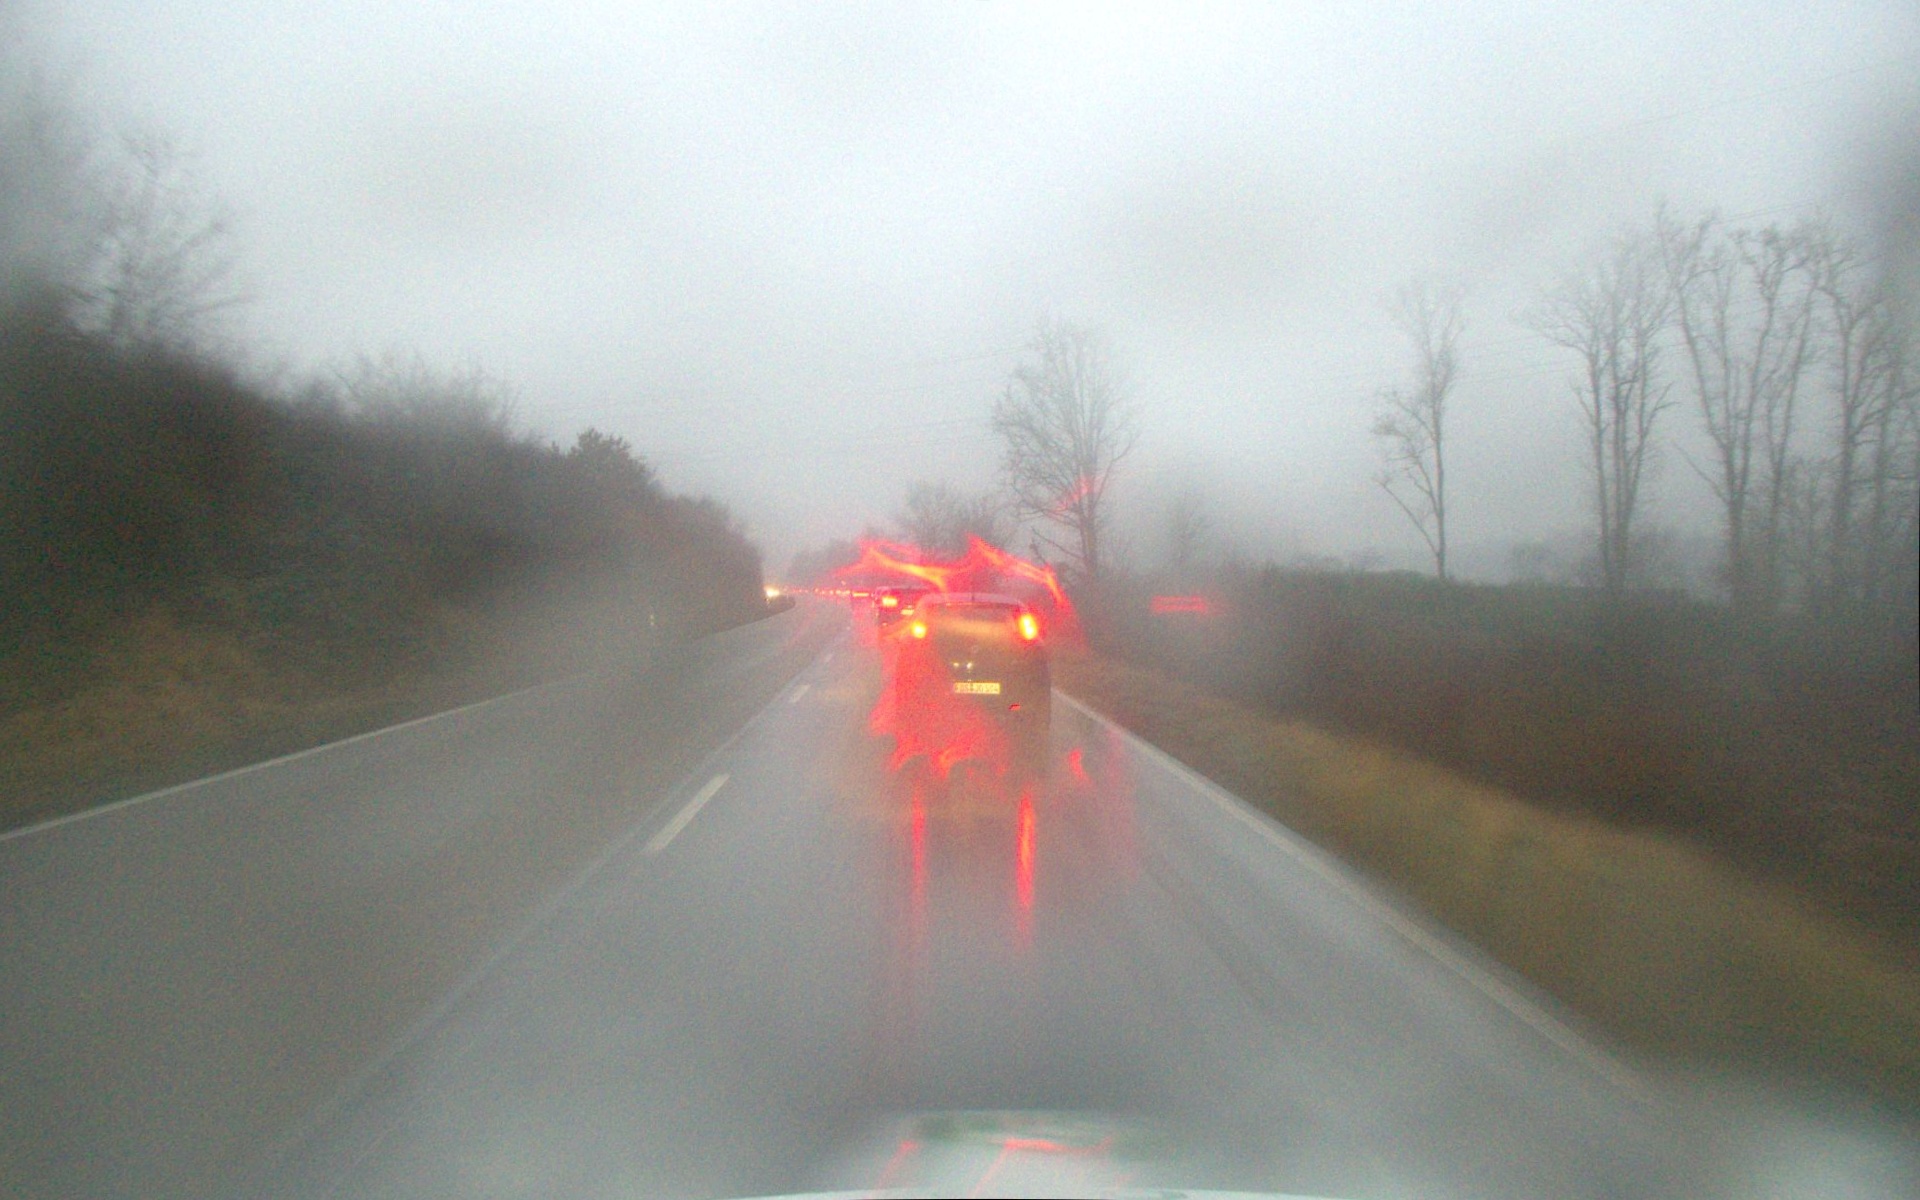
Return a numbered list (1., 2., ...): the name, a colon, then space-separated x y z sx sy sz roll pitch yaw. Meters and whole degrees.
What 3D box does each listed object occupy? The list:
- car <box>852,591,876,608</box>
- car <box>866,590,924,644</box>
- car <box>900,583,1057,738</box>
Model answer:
1. car: -7.962 -0.046 137.400 1.514 1.421 3.871 1 0 2
2. car: -1.768 0.438 45.784 1.515 1.421 3.868 1 0 -2
3. car: 0.227 0.601 18.707 1.569 1.548 3.870 1 0 1
